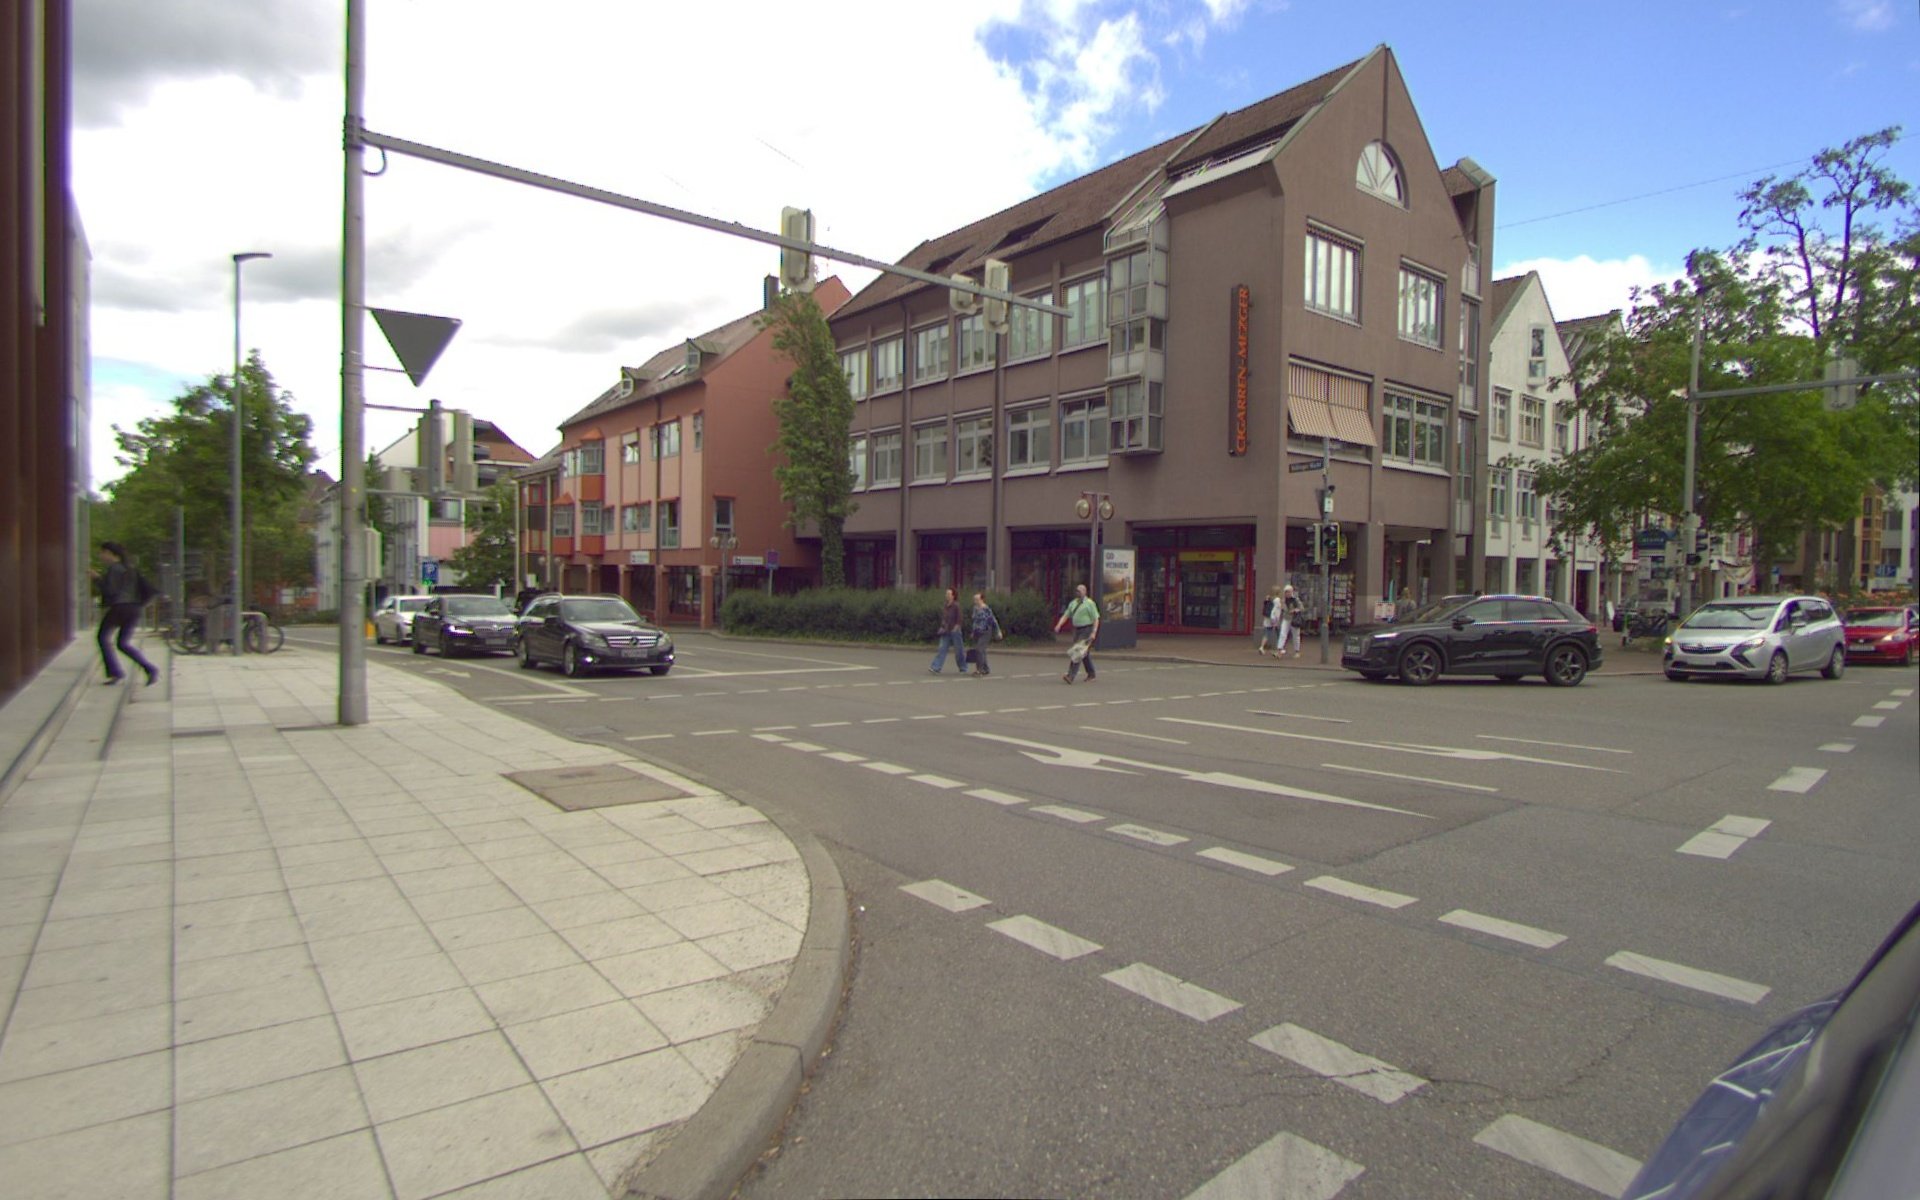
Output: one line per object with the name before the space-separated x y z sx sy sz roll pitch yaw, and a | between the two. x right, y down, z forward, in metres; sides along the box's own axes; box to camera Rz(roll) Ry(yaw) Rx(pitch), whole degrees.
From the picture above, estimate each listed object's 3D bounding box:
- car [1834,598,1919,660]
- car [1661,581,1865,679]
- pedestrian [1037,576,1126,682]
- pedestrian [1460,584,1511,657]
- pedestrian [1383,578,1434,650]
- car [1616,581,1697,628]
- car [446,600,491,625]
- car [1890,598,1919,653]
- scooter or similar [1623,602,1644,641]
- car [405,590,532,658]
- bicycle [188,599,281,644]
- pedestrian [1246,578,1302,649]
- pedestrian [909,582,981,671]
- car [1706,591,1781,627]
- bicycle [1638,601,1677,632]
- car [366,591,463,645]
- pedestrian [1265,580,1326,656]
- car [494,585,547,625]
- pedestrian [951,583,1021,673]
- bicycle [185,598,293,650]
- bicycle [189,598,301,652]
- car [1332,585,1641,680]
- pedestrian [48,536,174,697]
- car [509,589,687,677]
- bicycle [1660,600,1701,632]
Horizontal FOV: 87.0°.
car | 23.666 0.688 25.650 3.575 1.467 1.630 0 -1 -38
car | 15.776 0.533 19.827 4.294 1.722 1.746 0 -1 -31
pedestrian | 2.090 0.463 17.405 1.090 1.737 1.058 0 1 -39
pedestrian | 12.328 0.472 23.733 0.937 1.646 0.742 0 1 -41
pedestrian | 10.587 0.307 23.863 0.937 1.646 0.742 0 1 -41
car | 29.311 0.160 42.539 4.186 1.826 1.738 0 2 -40
car | -29.706 0.767 61.154 1.693 1.412 3.738 2 -2 -37
car | 28.789 0.725 29.631 3.929 1.549 1.800 0 -1 -40
scooter or similar | 20.476 0.636 30.757 0.468 1.101 1.865 2 2 35
car | -11.723 0.496 23.965 1.768 1.422 4.545 0 0 -38
bicycle | -18.998 0.543 26.513 1.956 1.115 0.720 0 1 -39
pedestrian | 7.426 0.304 23.941 1.020 1.615 0.824 0 1 -37
pedestrian | -0.280 0.475 19.005 1.040 1.604 0.831 0 1 -41
car | 38.248 0.384 49.346 4.671 1.566 1.997 -1 3 -41
bicycle | 25.294 0.575 36.725 0.399 1.061 1.568 1 1 4
car | -16.749 0.492 30.969 1.769 1.506 4.567 0 0 -40
pedestrian | 7.610 0.393 22.956 1.072 1.646 0.811 1 1 -35
car | -23.364 0.282 53.785 1.693 2.040 3.738 2 -2 -37
pedestrian | 0.473 0.492 18.528 0.952 1.578 0.832 0 1 -39
bicycle | -16.267 0.522 22.866 1.956 1.115 0.720 0 1 -39
bicycle | -15.613 0.518 22.120 1.956 1.115 0.720 0 1 -39
car | 9.527 0.559 18.497 4.762 1.629 1.859 0 0 -7
pedestrian | -9.983 0.168 11.923 1.101 1.789 0.880 0 1 -41
car | -6.775 0.515 18.676 1.769 1.422 4.181 0 0 -40
bicycle | 25.856 0.570 36.336 0.399 1.061 1.568 1 1 4
